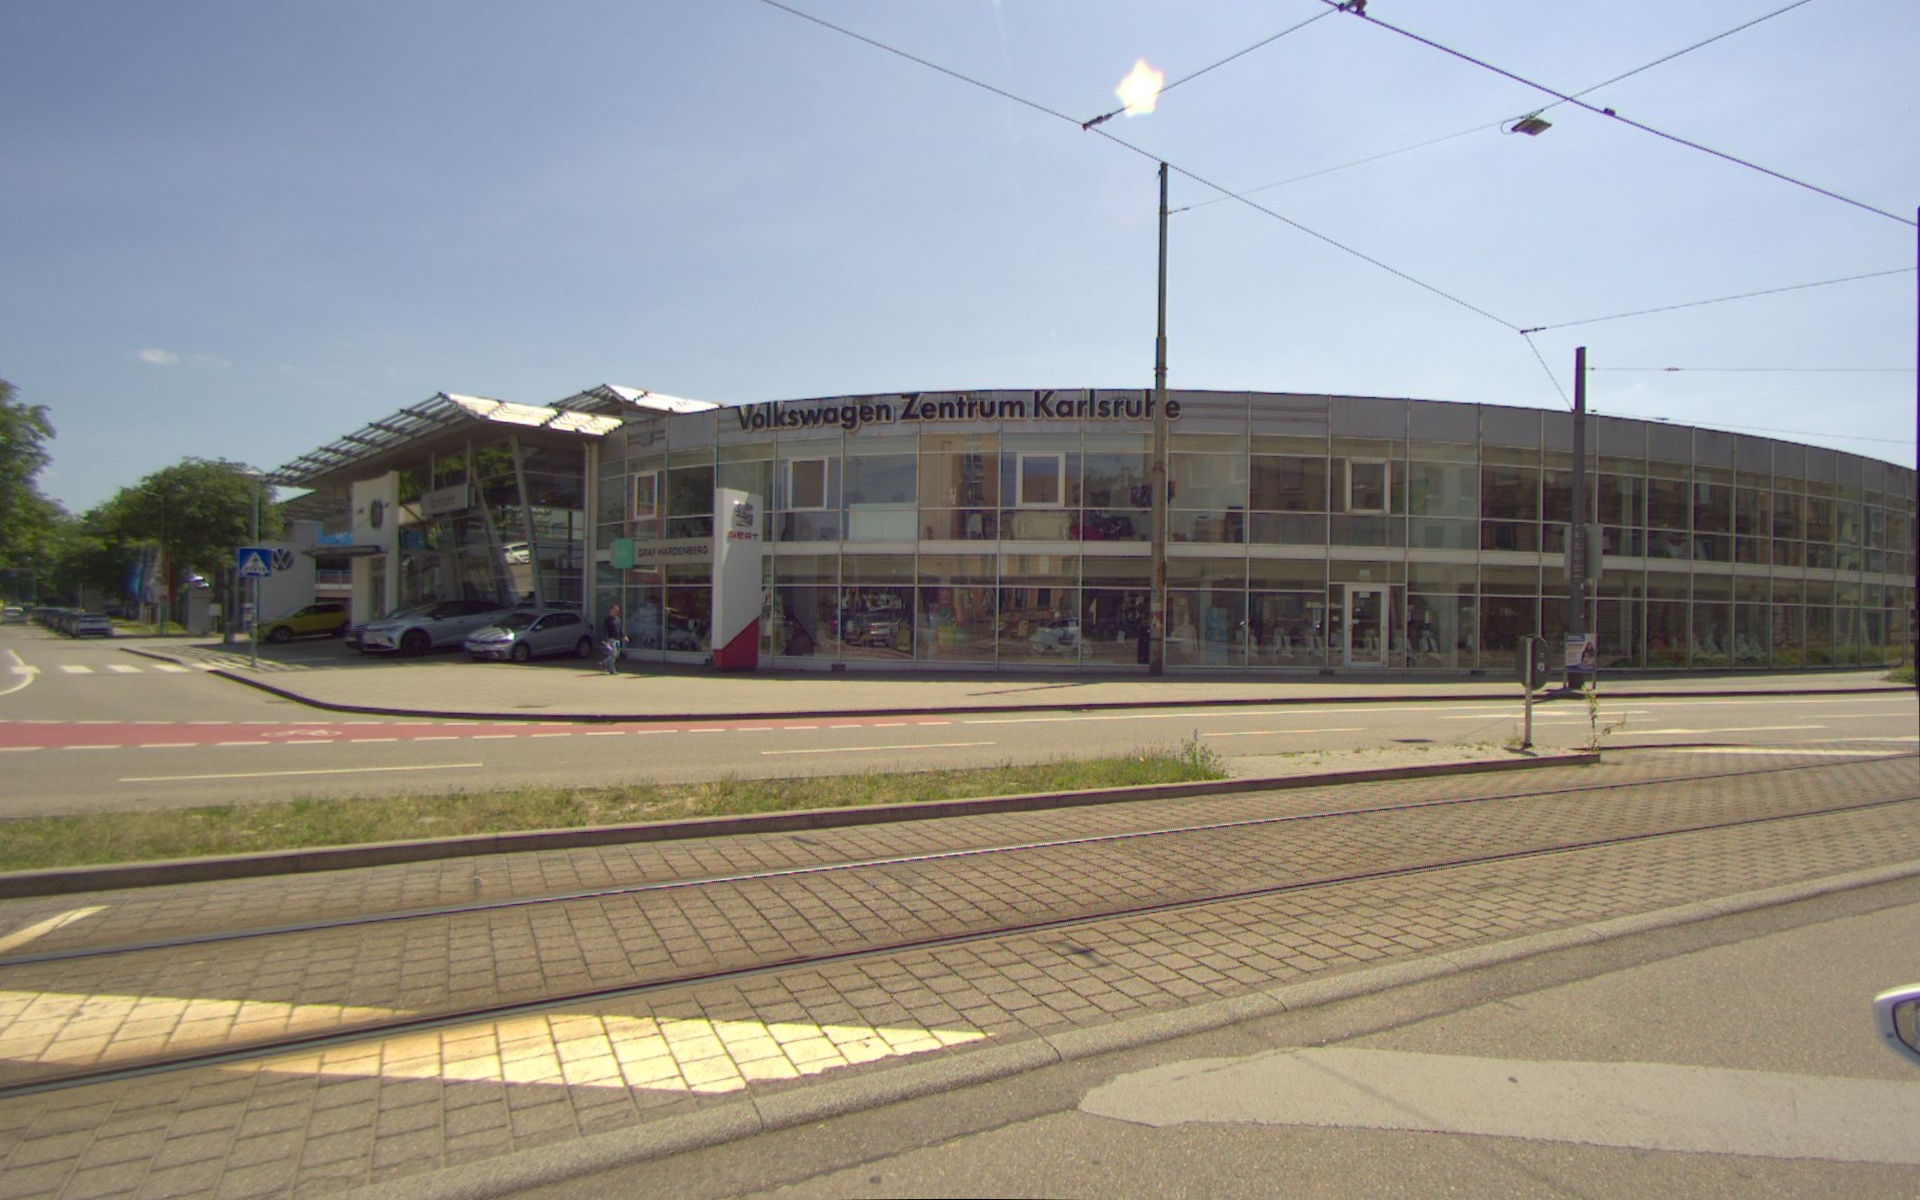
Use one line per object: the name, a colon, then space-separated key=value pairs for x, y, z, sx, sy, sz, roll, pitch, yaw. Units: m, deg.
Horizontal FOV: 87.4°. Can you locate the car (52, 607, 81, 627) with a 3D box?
car: x=-76.248 y=1.439 z=85.724 sx=1.817 sy=1.578 sz=3.950 roll=1 pitch=-1 yaw=-42

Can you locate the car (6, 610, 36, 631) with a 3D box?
car: x=-85.018 y=1.869 z=91.014 sx=1.767 sy=1.817 sz=3.953 roll=1 pitch=-1 yaw=-41

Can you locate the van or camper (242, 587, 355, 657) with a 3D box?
van or camper: x=-29.986 y=0.976 z=45.605 sx=3.973 sy=3.043 sz=1.974 roll=1 pitch=-1 yaw=-44

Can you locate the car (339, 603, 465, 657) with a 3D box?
car: x=-18.016 y=0.950 z=32.544 sx=1.402 sy=1.639 sz=3.326 roll=1 pitch=-1 yaw=29

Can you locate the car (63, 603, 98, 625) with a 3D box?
car: x=-64.218 y=1.034 z=73.313 sx=1.817 sy=1.578 sz=3.950 roll=1 pitch=-1 yaw=-42

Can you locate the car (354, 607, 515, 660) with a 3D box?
car: x=-16.140 y=0.981 z=31.068 sx=1.585 sy=1.439 sz=4.176 roll=0 pitch=1 yaw=33

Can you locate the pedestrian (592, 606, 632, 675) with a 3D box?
pedestrian: x=-8.614 y=0.998 z=24.858 sx=0.810 sy=1.664 sz=0.724 roll=1 pitch=-1 yaw=-29

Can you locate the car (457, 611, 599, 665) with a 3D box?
car: x=-12.825 y=1.108 z=30.080 sx=1.473 sy=1.476 sz=4.054 roll=1 pitch=-1 yaw=22

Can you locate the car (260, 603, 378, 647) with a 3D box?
car: x=-27.909 y=1.089 z=43.815 sx=1.639 sy=1.857 sz=4.073 roll=0 pitch=-1 yaw=45

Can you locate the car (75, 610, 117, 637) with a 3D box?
car: x=-52.357 y=1.422 z=60.833 sx=1.817 sy=1.578 sz=3.950 roll=1 pitch=-1 yaw=-42
